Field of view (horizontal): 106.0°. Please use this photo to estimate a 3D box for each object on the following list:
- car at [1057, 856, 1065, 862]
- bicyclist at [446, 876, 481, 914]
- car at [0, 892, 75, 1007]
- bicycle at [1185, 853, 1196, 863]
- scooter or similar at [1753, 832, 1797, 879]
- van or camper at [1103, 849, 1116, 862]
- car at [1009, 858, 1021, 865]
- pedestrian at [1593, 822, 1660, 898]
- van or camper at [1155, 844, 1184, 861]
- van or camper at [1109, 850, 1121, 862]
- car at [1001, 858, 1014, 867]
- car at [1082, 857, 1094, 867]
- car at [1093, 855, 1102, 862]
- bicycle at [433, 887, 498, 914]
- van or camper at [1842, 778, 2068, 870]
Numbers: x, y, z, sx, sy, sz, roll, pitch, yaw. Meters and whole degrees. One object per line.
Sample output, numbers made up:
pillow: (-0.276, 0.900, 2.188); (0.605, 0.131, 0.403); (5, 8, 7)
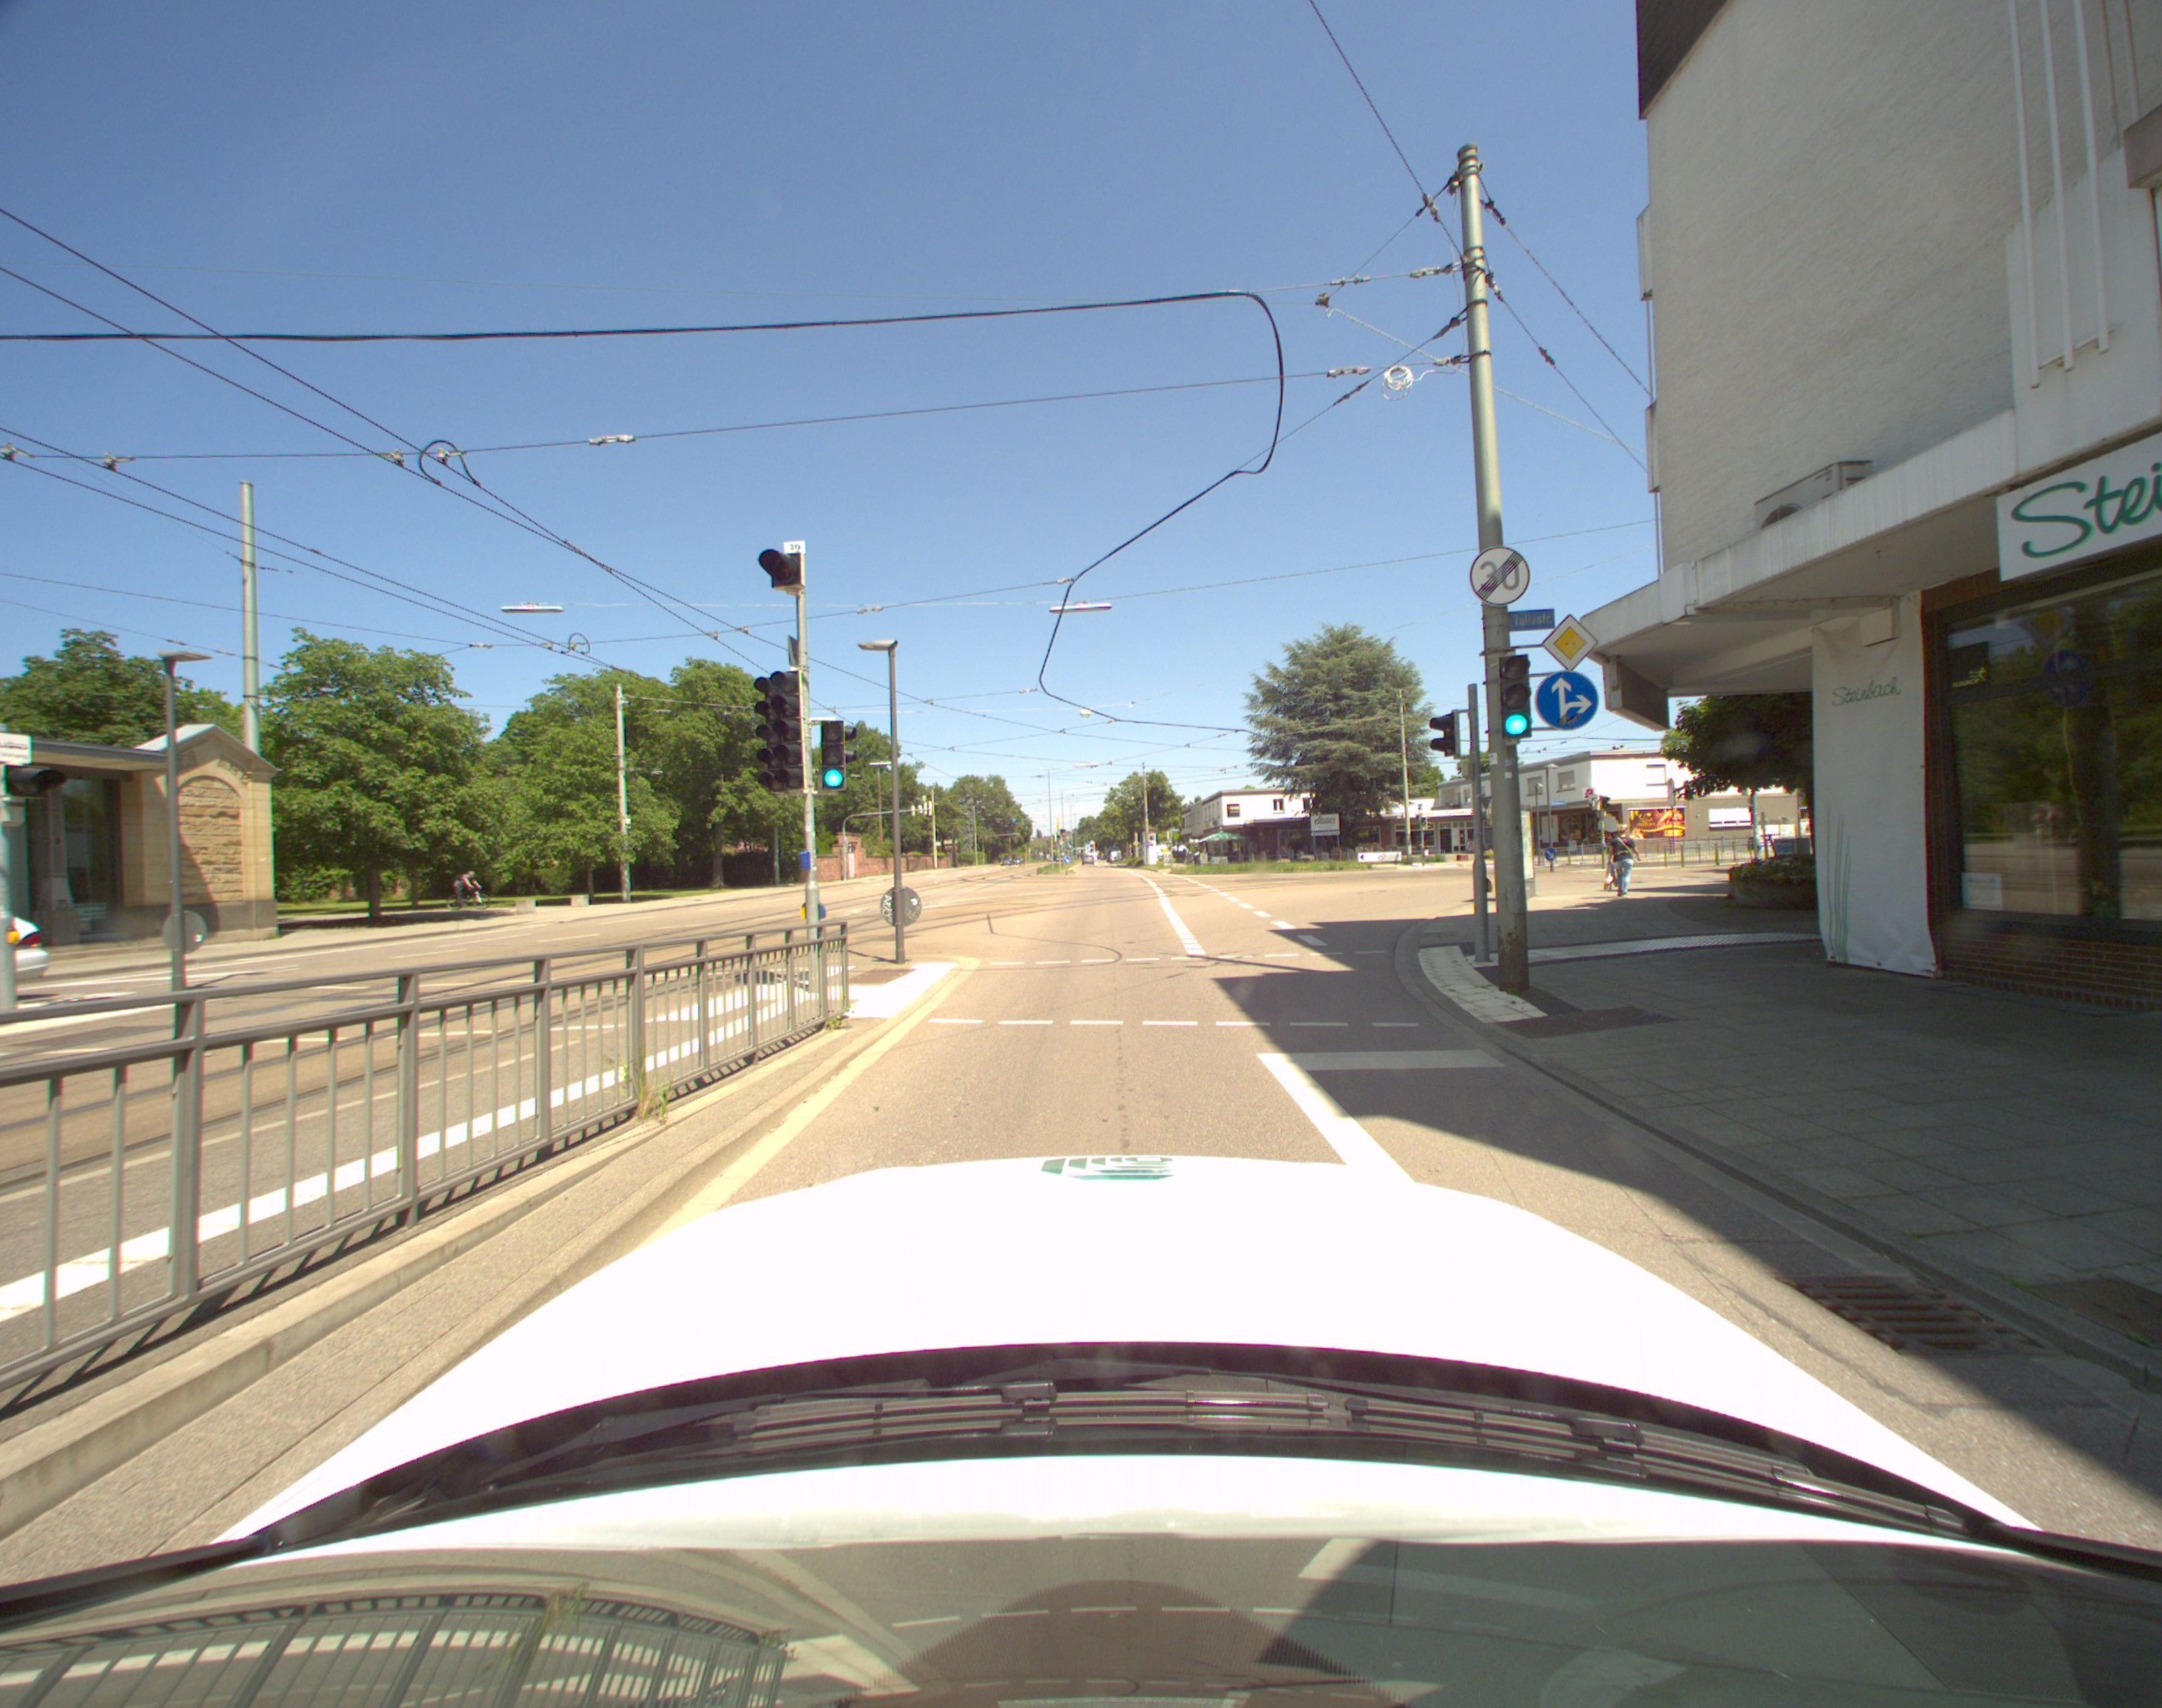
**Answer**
car: (-4.770, 1.233, 195.067); (1.636, 1.399, 4.116); (-2, 0, 0)
bicyclist: (-26.412, 1.734, 34.849); (0.842, 1.530, 0.850); (-2, 0, -10)
car: (-15.460, 1.314, 9.411); (1.808, 1.490, 4.508); (-2, 0, 7)
bicycle: (11.334, 0.401, 84.314); (1.028, 1.014, 2.643); (-2, 0, 8)
scooter or similar: (18.737, 0.041, 21.993); (1.258, 1.213, 0.391); (-2, -1, -26)
van or camper: (5.335, 0.254, 152.841); (1.988, 2.464, 3.997); (-2, 0, -2)
car: (-12.867, 1.441, 158.471); (1.634, 1.421, 4.171); (-2, 0, 3)
pedestrian: (12.141, 0.126, 18.155); (0.822, 1.583, 0.828); (-5, -1, 7)
van or camper: (15.482, -0.239, 143.228); (4.742, 2.671, 2.135); (-2, 0, -1)
van or camper: (5.407, 0.280, 130.231); (1.915, 1.772, 4.001); (-2, 0, 2)
car: (-13.360, 1.564, 147.790); (1.813, 1.603, 4.522); (-2, 0, 2)
car: (0.976, 1.141, 120.144); (1.632, 1.351, 3.839); (-2, 0, -2)
car: (3.409, 0.868, 165.116); (1.663, 1.435, 3.477); (-2, 0, 3)
bicycle: (-26.331, 1.971, 34.869); (2.096, 1.041, 0.715); (-2, 0, -10)
van or camper: (29.142, -0.981, 27.300); (5.207, 2.765, 2.207); (-2, 0, -1)
